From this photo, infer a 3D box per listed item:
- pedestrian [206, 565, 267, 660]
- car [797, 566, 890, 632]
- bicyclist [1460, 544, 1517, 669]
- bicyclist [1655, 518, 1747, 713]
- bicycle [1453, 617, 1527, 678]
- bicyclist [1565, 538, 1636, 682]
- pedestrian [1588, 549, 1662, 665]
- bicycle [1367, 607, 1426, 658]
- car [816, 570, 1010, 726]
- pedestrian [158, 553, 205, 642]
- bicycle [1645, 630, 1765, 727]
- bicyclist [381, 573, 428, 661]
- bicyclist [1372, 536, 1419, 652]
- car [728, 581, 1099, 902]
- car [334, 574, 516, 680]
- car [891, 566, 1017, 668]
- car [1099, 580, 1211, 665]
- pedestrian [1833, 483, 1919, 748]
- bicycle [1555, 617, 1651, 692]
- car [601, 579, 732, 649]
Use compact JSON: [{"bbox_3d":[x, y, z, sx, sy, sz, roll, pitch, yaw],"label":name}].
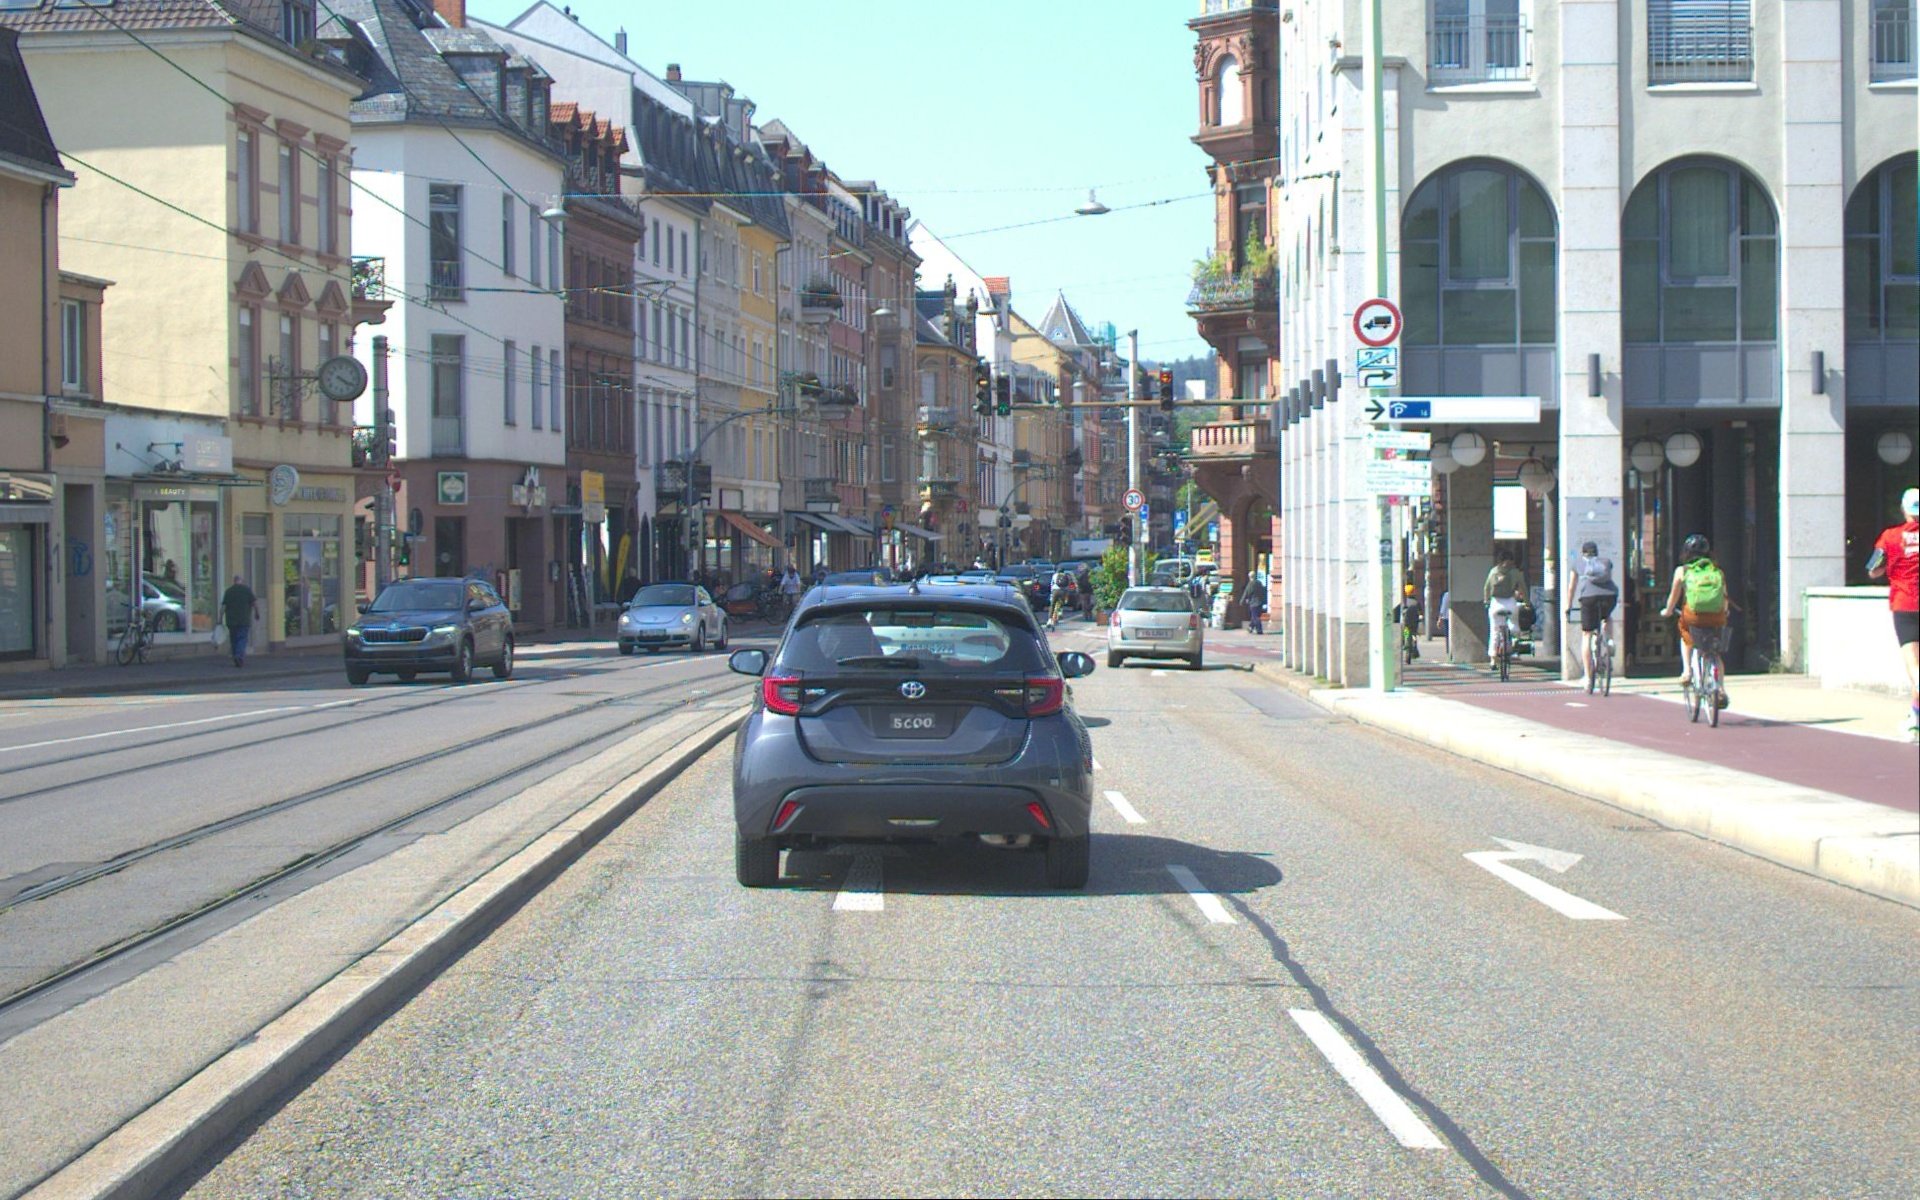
[{"bbox_3d":[-12.952,0.226,61.544,0.762,1.648,0.711,4,0,9],"label":"pedestrian"},{"bbox_3d":[-3.171,-0.030,94.298,1.994,1.766,3.999,0,0,6],"label":"car"},{"bbox_3d":[7.062,0.085,45.957,0.586,1.645,0.702,-1,0,-3],"label":"bicyclist"},{"bbox_3d":[6.378,0.127,29.618,0.605,1.645,0.702,-1,0,0],"label":"bicyclist"},{"bbox_3d":[7.074,0.625,45.958,0.593,0.763,1.867,-1,0,-3],"label":"bicycle"},{"bbox_3d":[7.027,0.107,37.757,0.586,1.553,0.702,-1,0,-3],"label":"bicyclist"},{"bbox_3d":[9.591,0.104,49.597,0.739,1.609,1.016,4,0,-1],"label":"pedestrian"},{"bbox_3d":[6.970,0.517,54.914,0.593,0.763,1.867,-1,0,-3],"label":"bicycle"},{"bbox_3d":[-0.502,0.460,36.171,1.897,1.525,4.000,1,0,-1],"label":"car"},{"bbox_3d":[-14.533,-0.048,64.178,0.649,1.596,0.566,4,2,0],"label":"pedestrian"},{"bbox_3d":[6.404,0.666,29.630,0.593,0.763,1.867,-1,0,0],"label":"bicycle"},{"bbox_3d":[-10.662,0.324,65.946,0.705,1.644,0.621,2,1,8],"label":"bicyclist"},{"bbox_3d":[6.952,-0.099,54.911,0.586,1.814,0.702,-1,0,-3],"label":"bicyclist"},{"bbox_3d":[-0.249,0.656,17.973,1.720,1.468,3.658,1,0,-1],"label":"car"},{"bbox_3d":[-8.063,0.386,52.122,1.794,1.540,3.920,0,0,5],"label":"car"},{"bbox_3d":[-0.126,0.234,54.395,1.897,1.525,4.000,1,0,-1],"label":"car"},{"bbox_3d":[3.522,0.382,62.736,1.705,1.461,4.326,0,1,-1],"label":"car"},{"bbox_3d":[7.082,0.102,25.597,0.811,1.918,1.127,-1,0,-1],"label":"pedestrian"},{"bbox_3d":[7.040,0.586,37.719,0.593,0.763,1.831,-1,0,-3],"label":"bicycle"},{"bbox_3d":[-6.126,0.278,72.214,1.994,1.427,3.999,1,0,6],"label":"car"}]
